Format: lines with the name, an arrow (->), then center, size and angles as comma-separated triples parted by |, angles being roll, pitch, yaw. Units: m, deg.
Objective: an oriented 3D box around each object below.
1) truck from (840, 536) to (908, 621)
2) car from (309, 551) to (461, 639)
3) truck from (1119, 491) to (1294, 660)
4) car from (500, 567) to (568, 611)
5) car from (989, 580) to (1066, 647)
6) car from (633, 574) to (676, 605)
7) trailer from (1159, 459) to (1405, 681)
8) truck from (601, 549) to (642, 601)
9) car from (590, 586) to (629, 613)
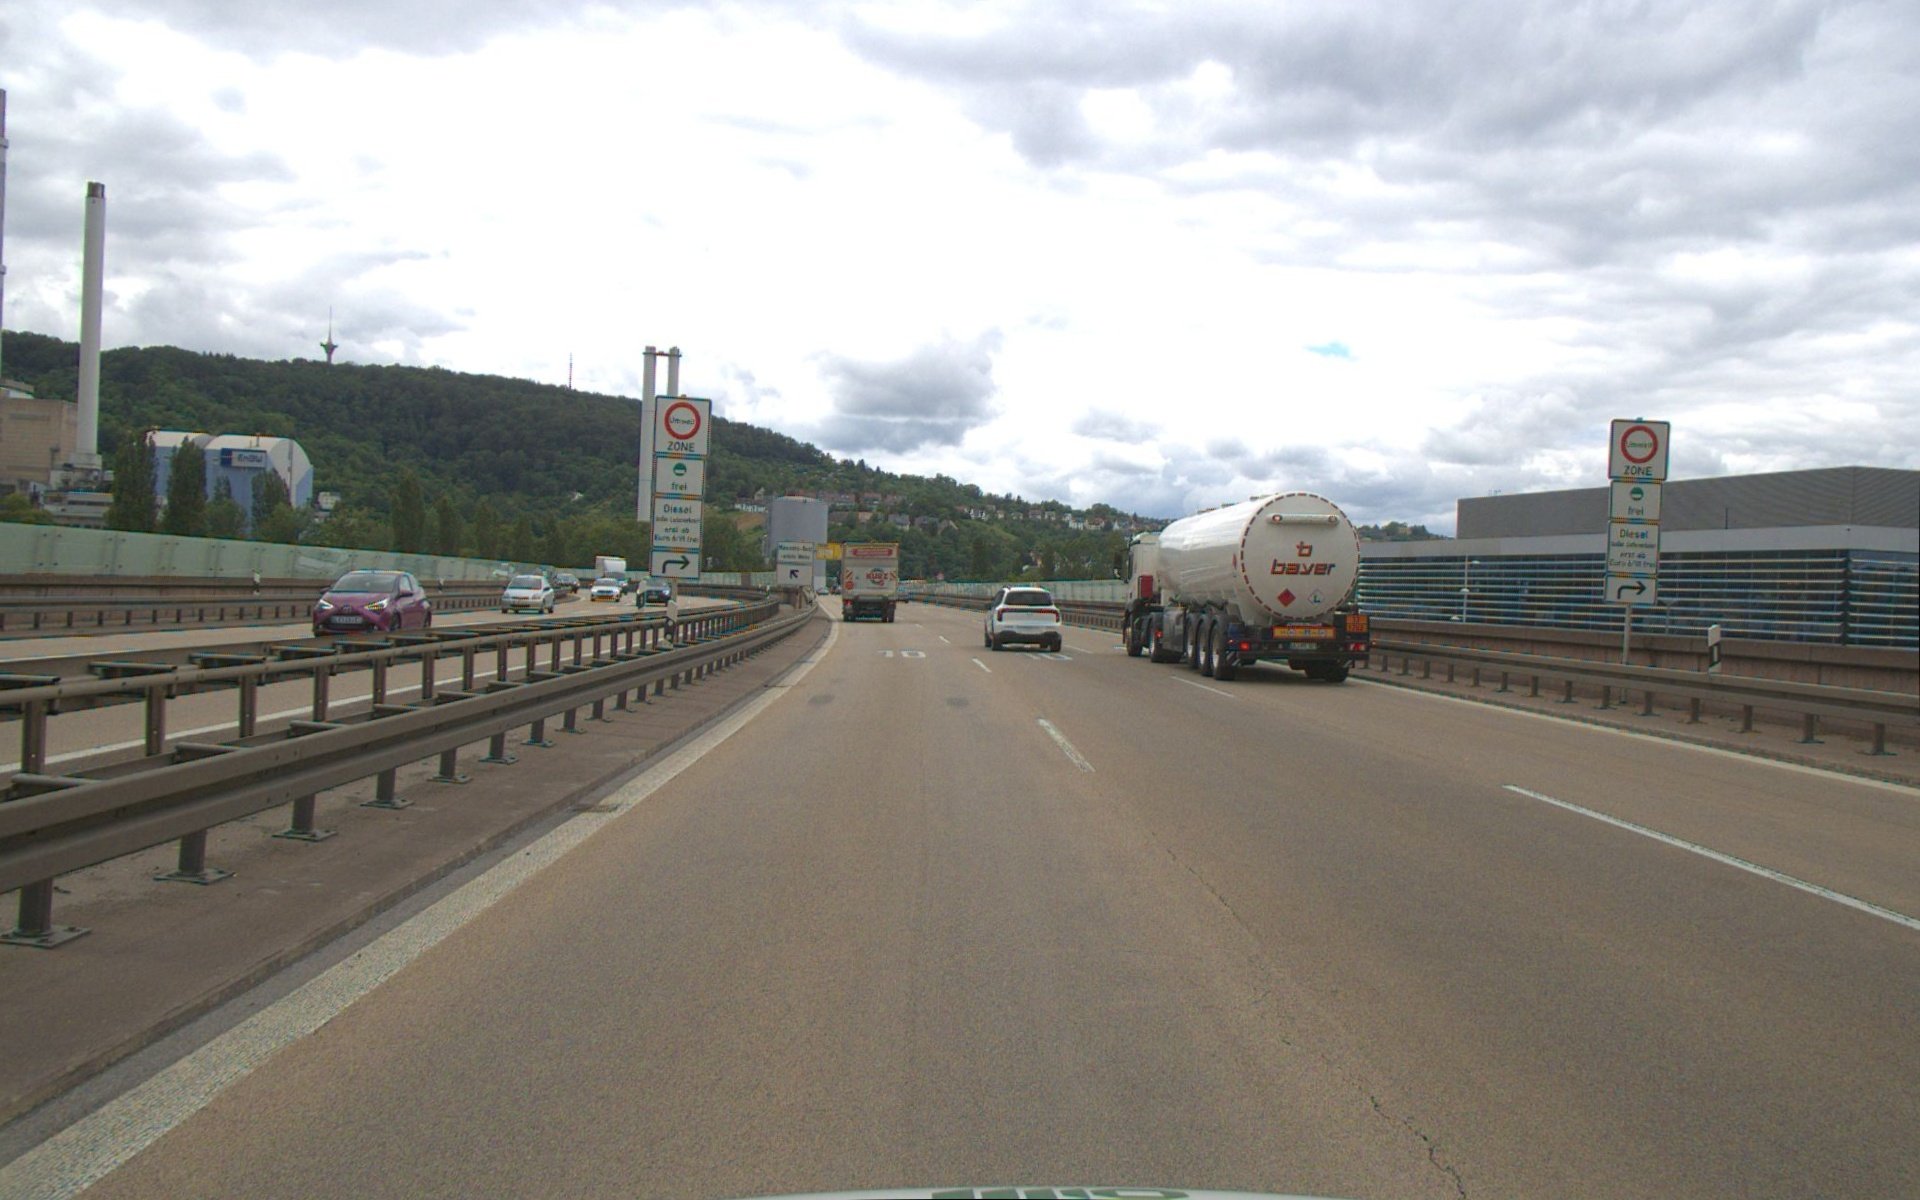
truck -> -4.131, -0.965, 78.622 | 2.996, 3.755, 8.297 | 1, 0, -4
car -> -12.016, -0.081, 34.851 | 1.955, 1.704, 4.403 | 1, 0, -5
truck -> 5.830, -0.522, 40.142 | 2.954, 3.721, 6.269 | 1, 0, -3
car -> -17.253, -0.416, 67.182 | 1.955, 1.704, 4.403 | 1, 0, -5
car -> 1.786, 0.360, 45.095 | 1.952, 1.704, 4.408 | 1, 0, 1
car -> -17.149, -0.559, 92.986 | 1.955, 1.704, 4.403 | 0, 0, -6
trailer -> 6.154, -0.510, 33.184 | 2.995, 3.856, 8.300 | 1, 0, -2
truck -> -31.139, -2.255, 152.402 | 2.999, 4.642, 8.289 | 1, 0, -8
car -> -22.490, -0.025, 106.305 | 1.955, 1.704, 4.403 | 1, 0, -5
